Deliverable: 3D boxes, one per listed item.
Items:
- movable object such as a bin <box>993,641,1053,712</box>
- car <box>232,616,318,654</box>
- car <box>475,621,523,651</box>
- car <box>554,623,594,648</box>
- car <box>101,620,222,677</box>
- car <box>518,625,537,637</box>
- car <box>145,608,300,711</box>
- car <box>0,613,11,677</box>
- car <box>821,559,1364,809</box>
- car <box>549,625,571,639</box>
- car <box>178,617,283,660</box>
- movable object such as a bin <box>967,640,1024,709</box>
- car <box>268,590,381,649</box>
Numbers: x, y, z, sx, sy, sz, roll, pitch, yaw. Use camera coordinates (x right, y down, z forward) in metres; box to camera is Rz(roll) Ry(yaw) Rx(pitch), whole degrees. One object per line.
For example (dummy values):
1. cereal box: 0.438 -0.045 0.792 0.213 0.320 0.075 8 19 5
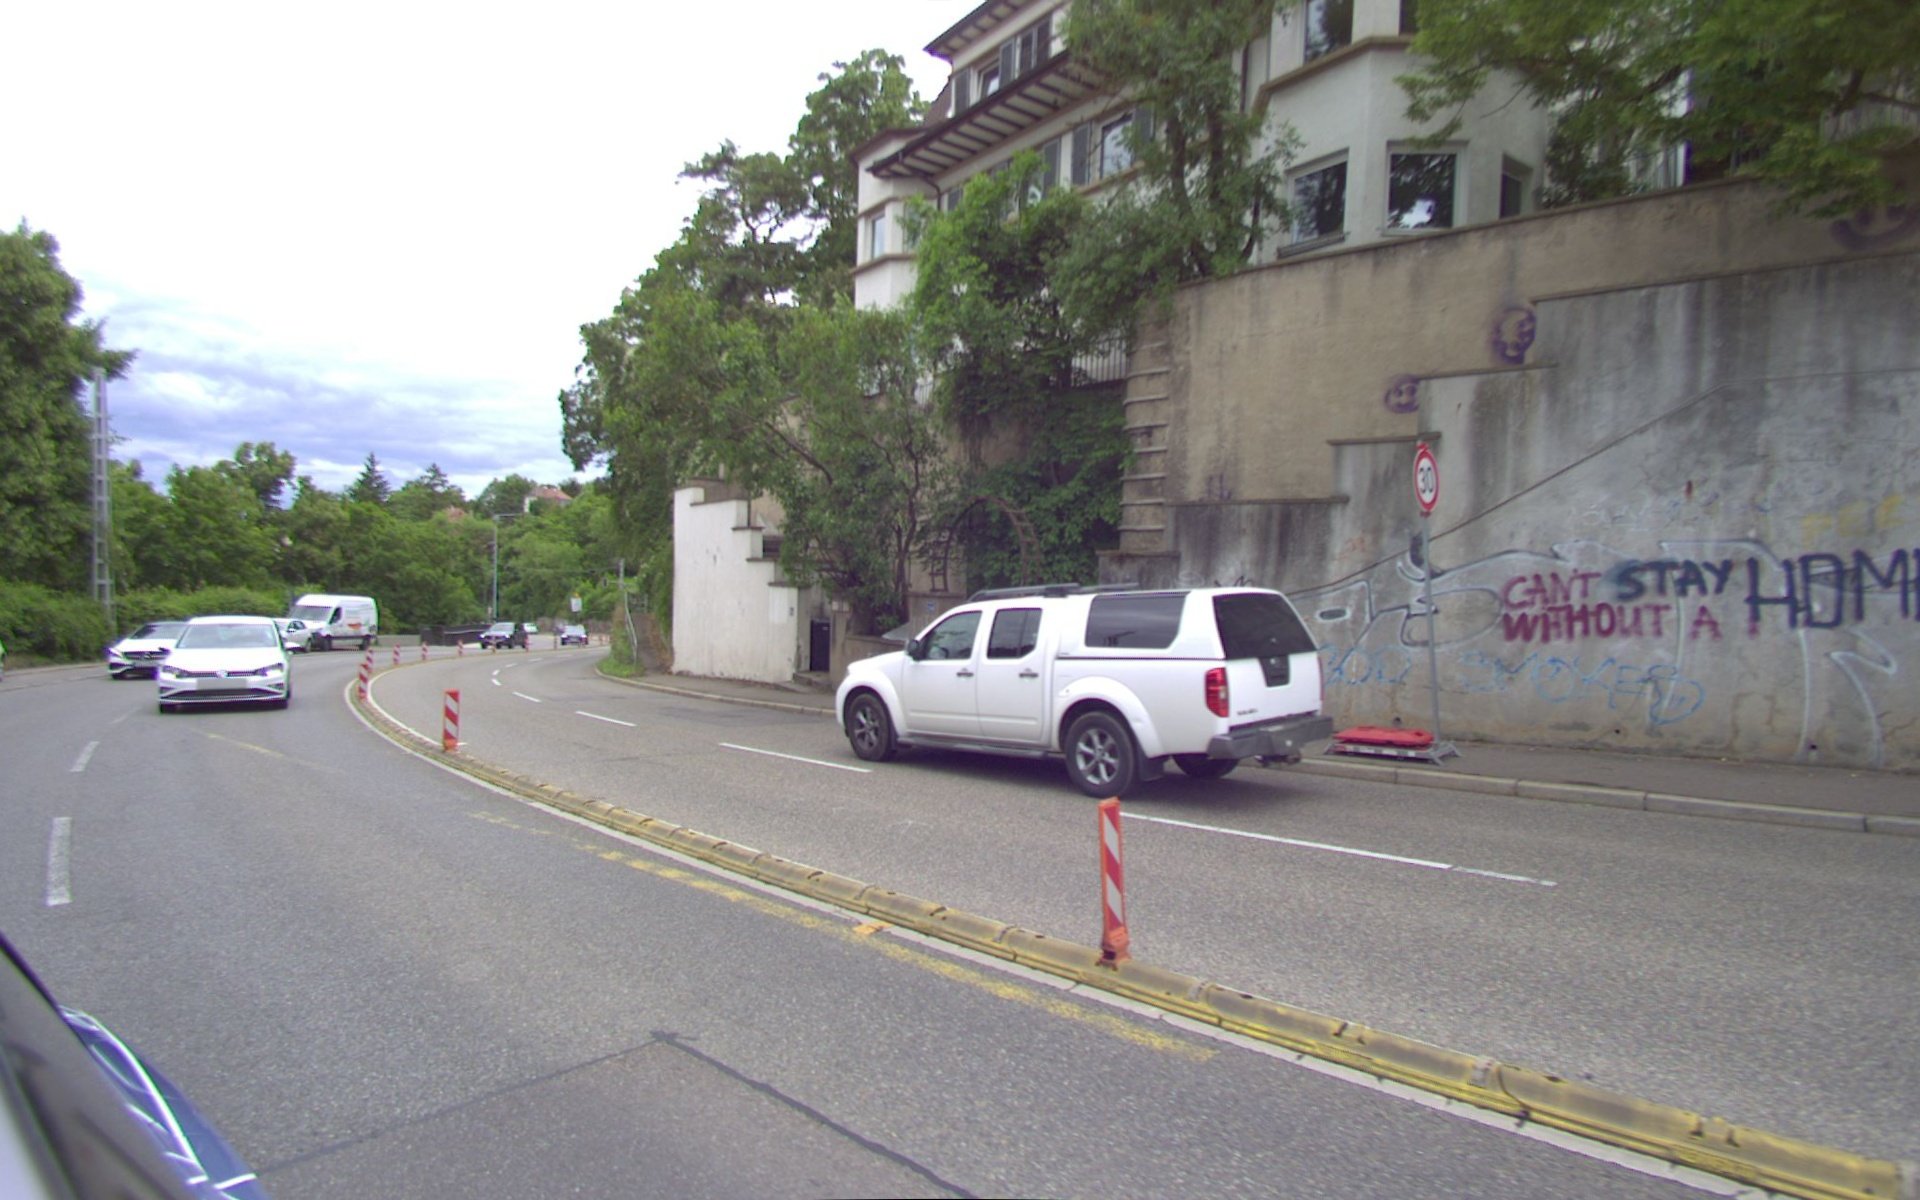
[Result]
1. movable object such as a bin: 0.900 1.080 14.540 0.599 0.956 0.581 -1 0 -42
2. car: -28.609 1.455 42.409 1.678 1.475 3.845 2 -2 -13
3. car: -28.688 2.215 63.097 1.967 1.719 4.011 -2 0 -14
4. car: -29.512 2.726 77.455 1.969 1.719 4.006 -2 0 -7
5. car: -20.639 1.227 26.322 1.768 1.316 4.113 0 -2 -28
6. car: -57.116 4.062 133.668 1.688 1.478 3.670 -1 -1 -34
7. car: -12.786 0.986 17.777 1.855 1.590 4.011 3 -2 -32
8. car: -21.588 0.956 21.198 1.753 1.429 4.011 3 -2 -33
9. car: 0.976 0.693 10.027 1.888 1.842 5.310 1 -2 -44
10. car: -47.460 3.796 119.999 1.688 1.478 3.670 -1 -1 -34
11. car: -27.124 1.412 37.786 1.677 1.475 4.677 2 -2 -16
12. movable object such as a bin: 0.520 1.090 14.964 0.599 0.956 0.557 -1 0 -42
13. car: -29.917 0.970 47.899 2.059 2.542 5.852 3 -2 -6
